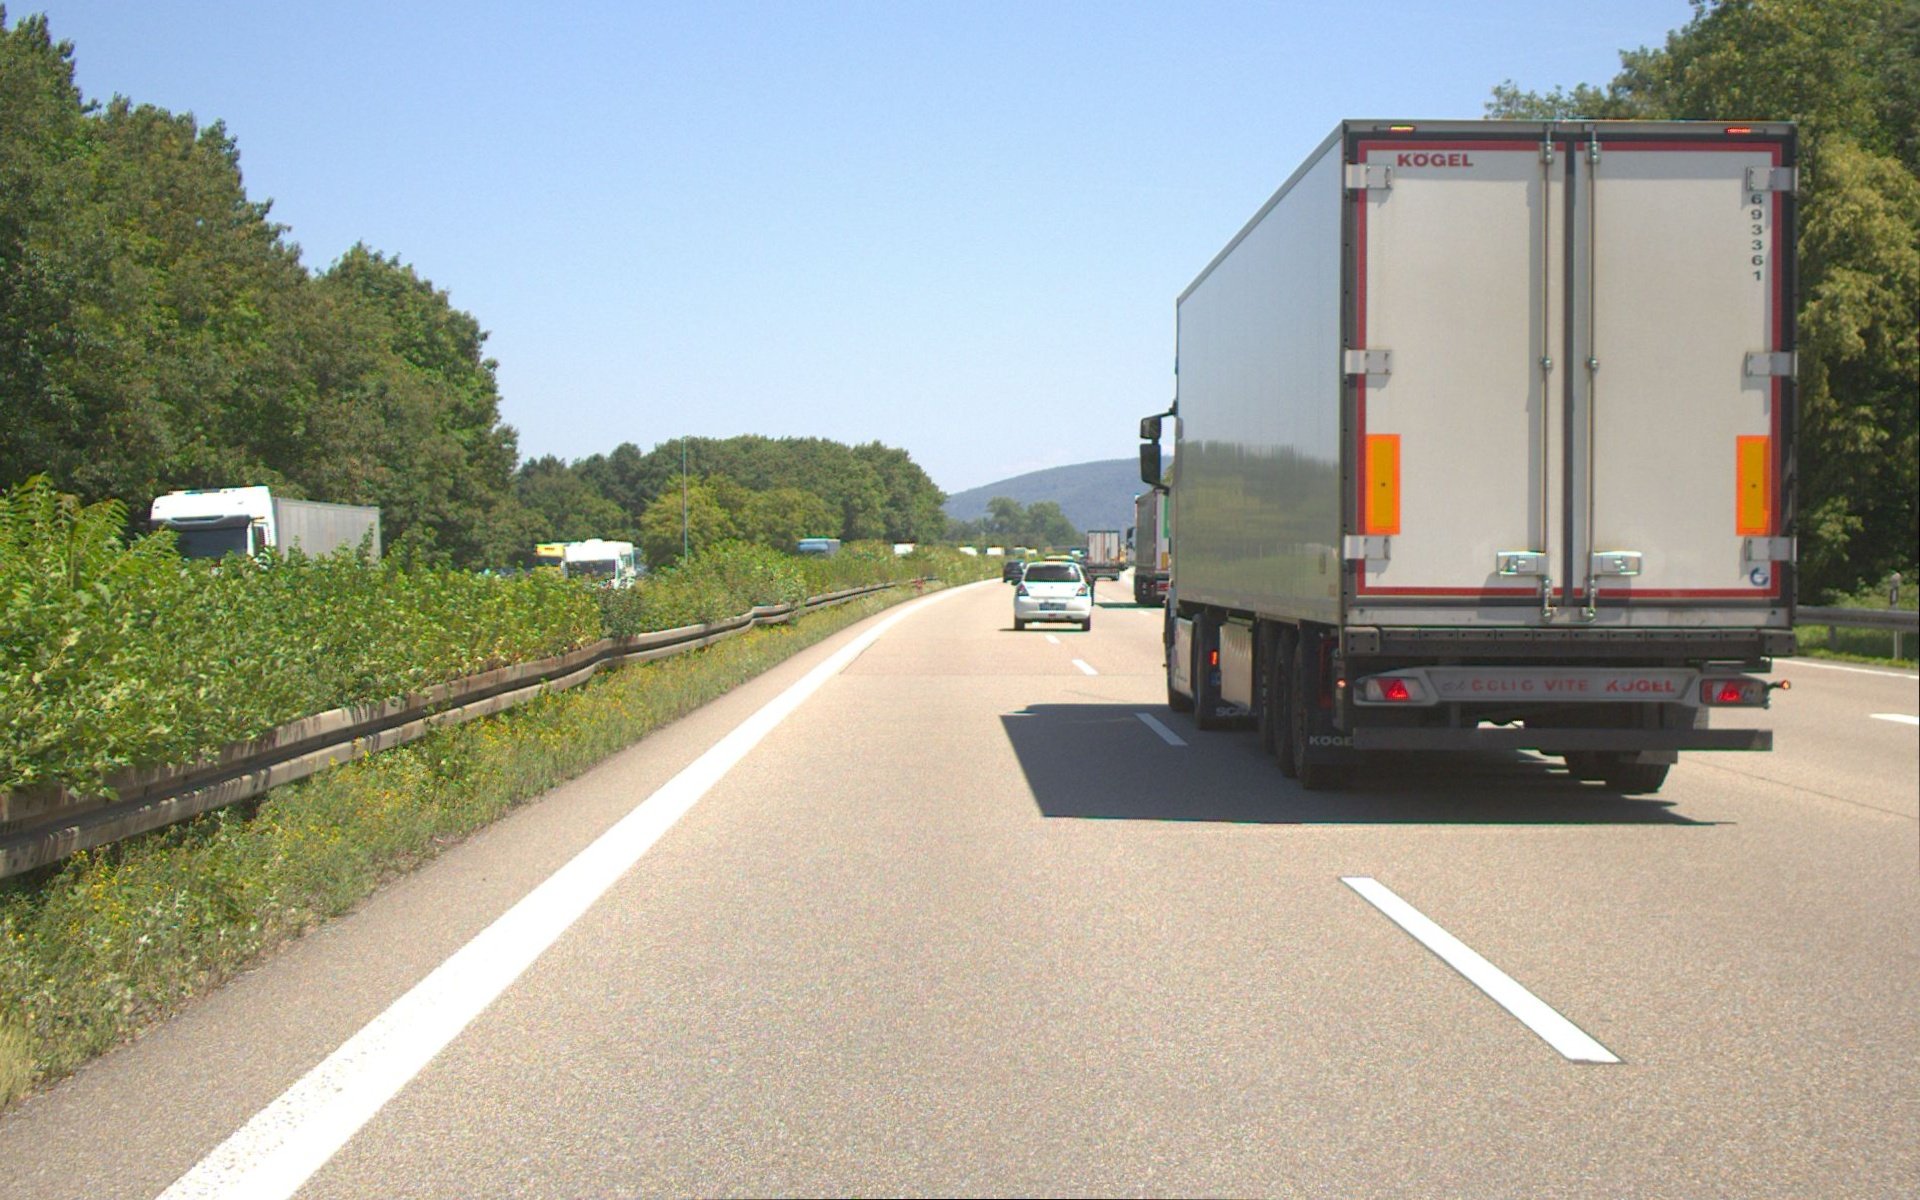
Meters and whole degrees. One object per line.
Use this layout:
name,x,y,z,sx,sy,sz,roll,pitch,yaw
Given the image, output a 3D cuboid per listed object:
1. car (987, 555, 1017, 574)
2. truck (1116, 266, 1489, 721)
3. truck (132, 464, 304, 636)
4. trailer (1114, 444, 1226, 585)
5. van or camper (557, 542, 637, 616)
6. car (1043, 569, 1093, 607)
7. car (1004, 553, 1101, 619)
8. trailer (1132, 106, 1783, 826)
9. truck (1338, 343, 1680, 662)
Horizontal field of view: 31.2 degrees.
car,3.094,-2.624,254.842,1.882,1.344,4.468,-1,1,-3
truck,3.245,-1.015,33.828,3.229,4.143,4.560,0,1,1
truck,-16.985,-1.155,79.001,2.889,3.810,4.885,0,1,0
trailer,7.171,-2.897,119.074,3.182,4.611,12.050,0,1,0
van or camper,-15.784,-0.958,150.054,2.420,3.101,9.087,-1,1,1
car,3.760,-0.436,120.314,1.668,1.285,4.000,0,1,1
car,2.023,-0.321,75.832,1.811,1.400,3.318,-1,1,-4
trailer,3.184,-0.874,26.028,3.223,4.129,12.352,0,1,1
truck,8.094,-1.428,52.365,3.223,4.330,10.808,0,1,-1
